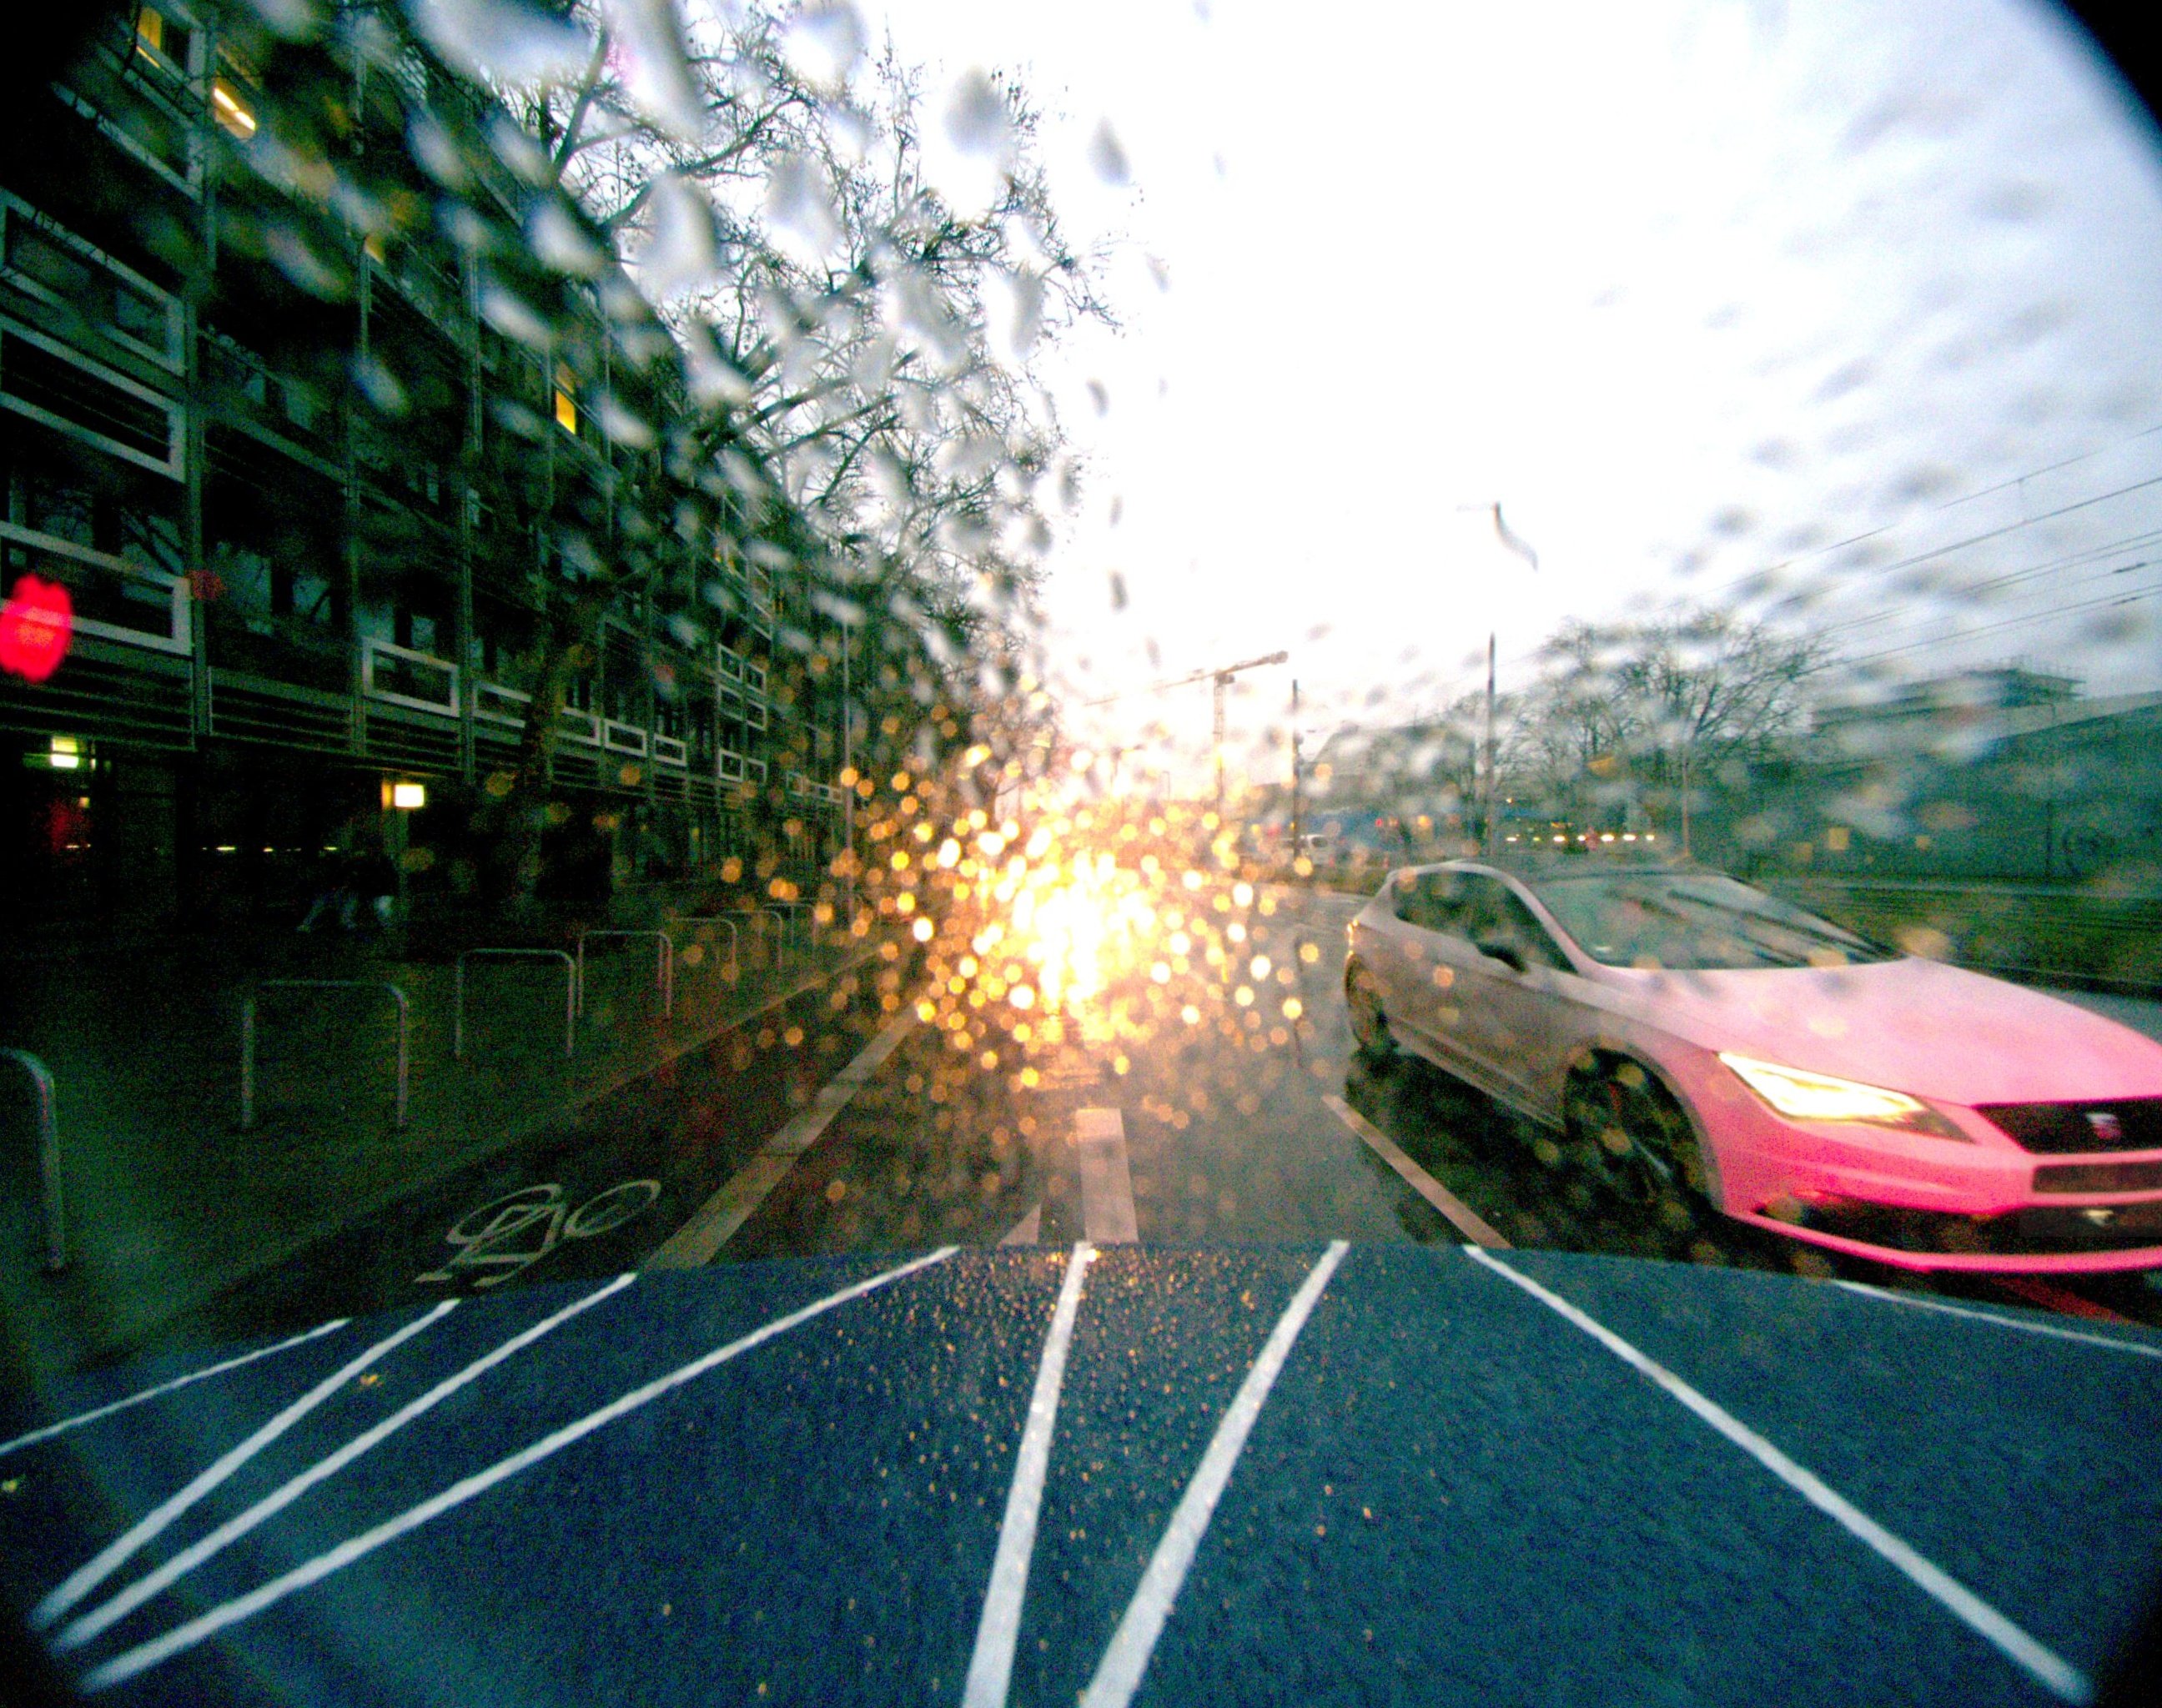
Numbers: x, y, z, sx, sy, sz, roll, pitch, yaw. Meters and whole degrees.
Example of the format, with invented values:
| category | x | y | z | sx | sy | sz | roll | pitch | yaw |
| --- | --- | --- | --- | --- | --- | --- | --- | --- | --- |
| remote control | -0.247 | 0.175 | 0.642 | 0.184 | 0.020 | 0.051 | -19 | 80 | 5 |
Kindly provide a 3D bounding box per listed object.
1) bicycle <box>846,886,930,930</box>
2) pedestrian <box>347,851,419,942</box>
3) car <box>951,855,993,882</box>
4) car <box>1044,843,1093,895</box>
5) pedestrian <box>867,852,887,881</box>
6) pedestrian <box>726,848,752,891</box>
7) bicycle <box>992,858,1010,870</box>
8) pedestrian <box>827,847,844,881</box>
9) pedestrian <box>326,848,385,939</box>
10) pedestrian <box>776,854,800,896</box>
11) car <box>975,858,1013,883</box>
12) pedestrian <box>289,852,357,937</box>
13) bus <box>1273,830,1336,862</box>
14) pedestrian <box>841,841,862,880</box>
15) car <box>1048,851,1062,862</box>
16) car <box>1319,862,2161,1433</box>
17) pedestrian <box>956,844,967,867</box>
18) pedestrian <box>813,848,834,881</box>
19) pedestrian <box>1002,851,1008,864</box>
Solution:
| category | x | y | z | sx | sy | sz | roll | pitch | yaw |
| --- | --- | --- | --- | --- | --- | --- | --- | --- | --- |
| bicycle | -4.454 | 1.250 | 17.612 | 1.792 | 0.968 | 0.617 | 1 | 1 | -4 |
| pedestrian | -13.025 | 0.768 | 14.201 | 0.501 | 1.658 | 0.873 | 0 | 1 | 1 |
| car | -6.176 | 0.792 | 43.380 | 1.608 | 1.424 | 3.930 | 2 | 1 | 2 |
| car | -0.459 | 0.578 | 31.238 | 1.858 | 2.002 | 4.000 | -1 | 0 | 1 |
| pedestrian | -10.986 | 0.663 | 40.937 | 0.866 | 1.515 | 0.837 | -1 | 1 | -2 |
| pedestrian | -13.181 | 0.589 | 29.337 | 0.617 | 1.647 | 0.780 | -1 | 1 | 1 |
| bicycle | -7.212 | 0.920 | 68.304 | 1.523 | 1.030 | 0.469 | -2 | 1 | -7 |
| pedestrian | -12.689 | 0.495 | 39.210 | 0.661 | 1.708 | 0.841 | -1 | 1 | -28 |
| pedestrian | -13.516 | 0.723 | 14.171 | 0.379 | 1.658 | 0.713 | 0 | 1 | 1 |
| pedestrian | -10.905 | 0.763 | 28.293 | 0.649 | 1.535 | 0.615 | 0 | 1 | 1 |
| car | -5.853 | 1.067 | 51.384 | 1.998 | 1.477 | 3.999 | -2 | 1 | 1 |
| pedestrian | -14.149 | 0.737 | 14.193 | 0.484 | 1.555 | 0.745 | -1 | 1 | -1 |
| bus | 26.229 | -0.954 | 90.010 | 2.815 | 3.557 | 12.298 | -1 | 0 | -6 |
| pedestrian | -11.873 | 0.321 | 39.353 | 0.822 | 2.002 | 0.735 | -1 | 1 | -2 |
| car | -4.971 | 0.422 | 143.665 | 2.000 | 2.002 | 3.996 | -2 | 1 | -9 |
| car | 2.904 | 0.818 | 4.153 | 1.778 | 1.466 | 4.128 | -1 | 0 | -2 |
| pedestrian | -10.638 | 0.120 | 67.424 | 0.791 | 2.002 | 1.024 | -1 | 1 | 0 |
| pedestrian | -13.050 | 0.526 | 38.434 | 0.840 | 1.645 | 0.643 | 0 | 1 | 40 |
| pedestrian | -11.420 | 0.513 | 114.044 | 0.838 | 2.002 | 0.771 | -2 | 2 | -1 |
